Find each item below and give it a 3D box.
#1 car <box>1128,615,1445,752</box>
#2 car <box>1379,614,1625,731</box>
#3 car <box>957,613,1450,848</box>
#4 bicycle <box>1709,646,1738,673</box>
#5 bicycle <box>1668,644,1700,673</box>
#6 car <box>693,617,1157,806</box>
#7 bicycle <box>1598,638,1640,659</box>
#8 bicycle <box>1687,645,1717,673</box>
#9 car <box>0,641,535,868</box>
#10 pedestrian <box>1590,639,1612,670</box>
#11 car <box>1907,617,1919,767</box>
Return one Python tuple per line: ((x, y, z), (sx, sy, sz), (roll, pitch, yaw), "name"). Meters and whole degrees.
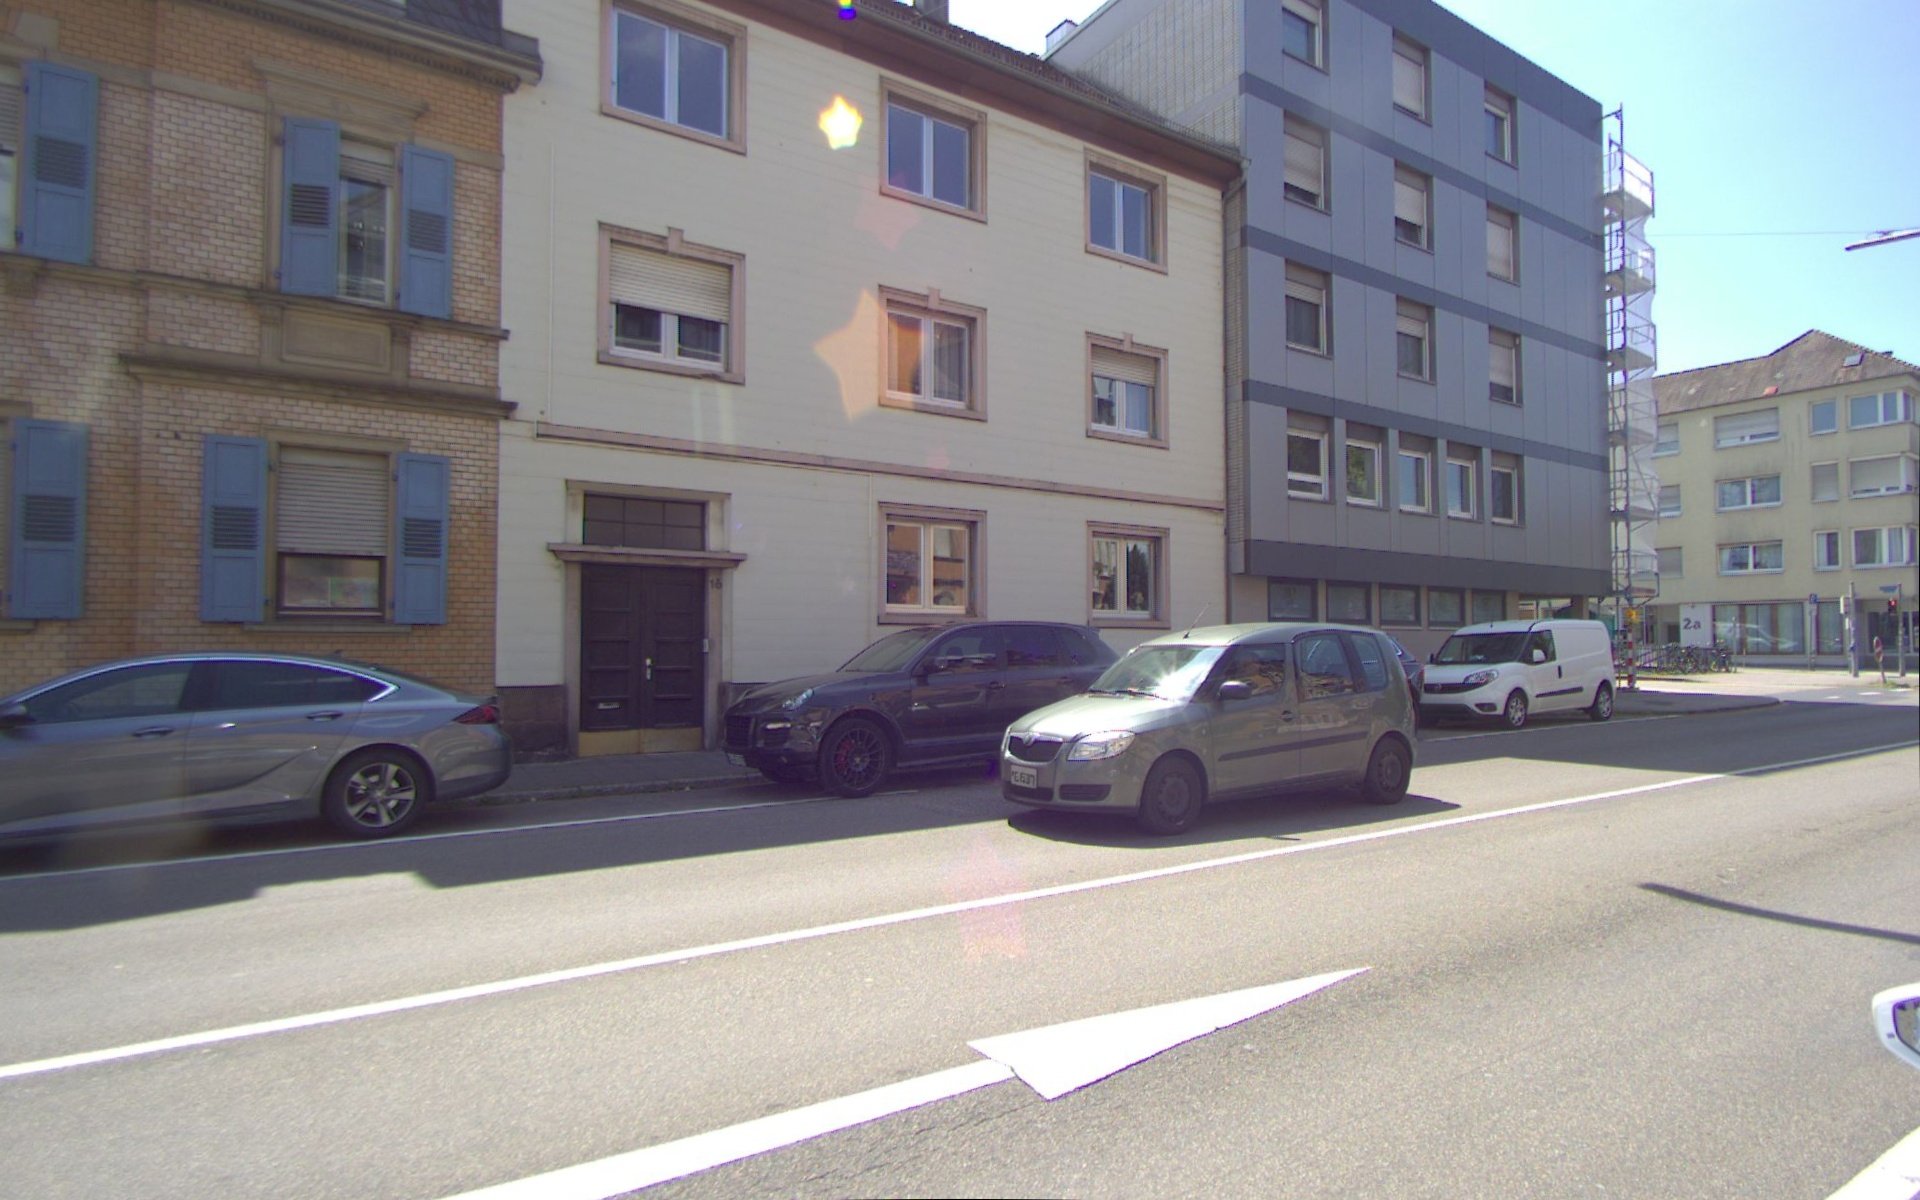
((4.750, 1.139, 14.377), (4.615, 1.662, 1.874), (2, -4, -34), "car")
((9.772, 1.260, 17.995), (4.739, 1.849, 1.902), (2, -4, -34), "car")
((2.217, 0.978, 8.744), (4.265, 1.595, 1.692), (1, -3, -32), "car")
((28.002, 2.178, 36.828), (1.767, 0.980, 0.394), (2, -2, -37), "bicycle")
((24.843, 1.996, 34.448), (1.703, 0.980, 0.394), (2, -2, -37), "bicycle")
((-0.278, 1.097, 10.935), (4.765, 1.662, 1.875), (2, -4, -32), "car")
((33.209, 2.427, 50.634), (0.493, 1.040, 1.727), (1, -2, -34), "bicycle")
((26.303, 2.089, 35.601), (1.730, 0.980, 0.394), (2, -2, -37), "bicycle")
((-5.941, 1.086, 7.546), (4.790, 1.424, 1.854), (2, -7, -36), "car")
((31.452, 2.655, 49.278), (0.641, 1.495, 0.682), (1, -2, -32), "pedestrian")
((12.625, 1.035, 11.441), (3.956, 1.653, 1.744), (1, -2, -32), "car")
